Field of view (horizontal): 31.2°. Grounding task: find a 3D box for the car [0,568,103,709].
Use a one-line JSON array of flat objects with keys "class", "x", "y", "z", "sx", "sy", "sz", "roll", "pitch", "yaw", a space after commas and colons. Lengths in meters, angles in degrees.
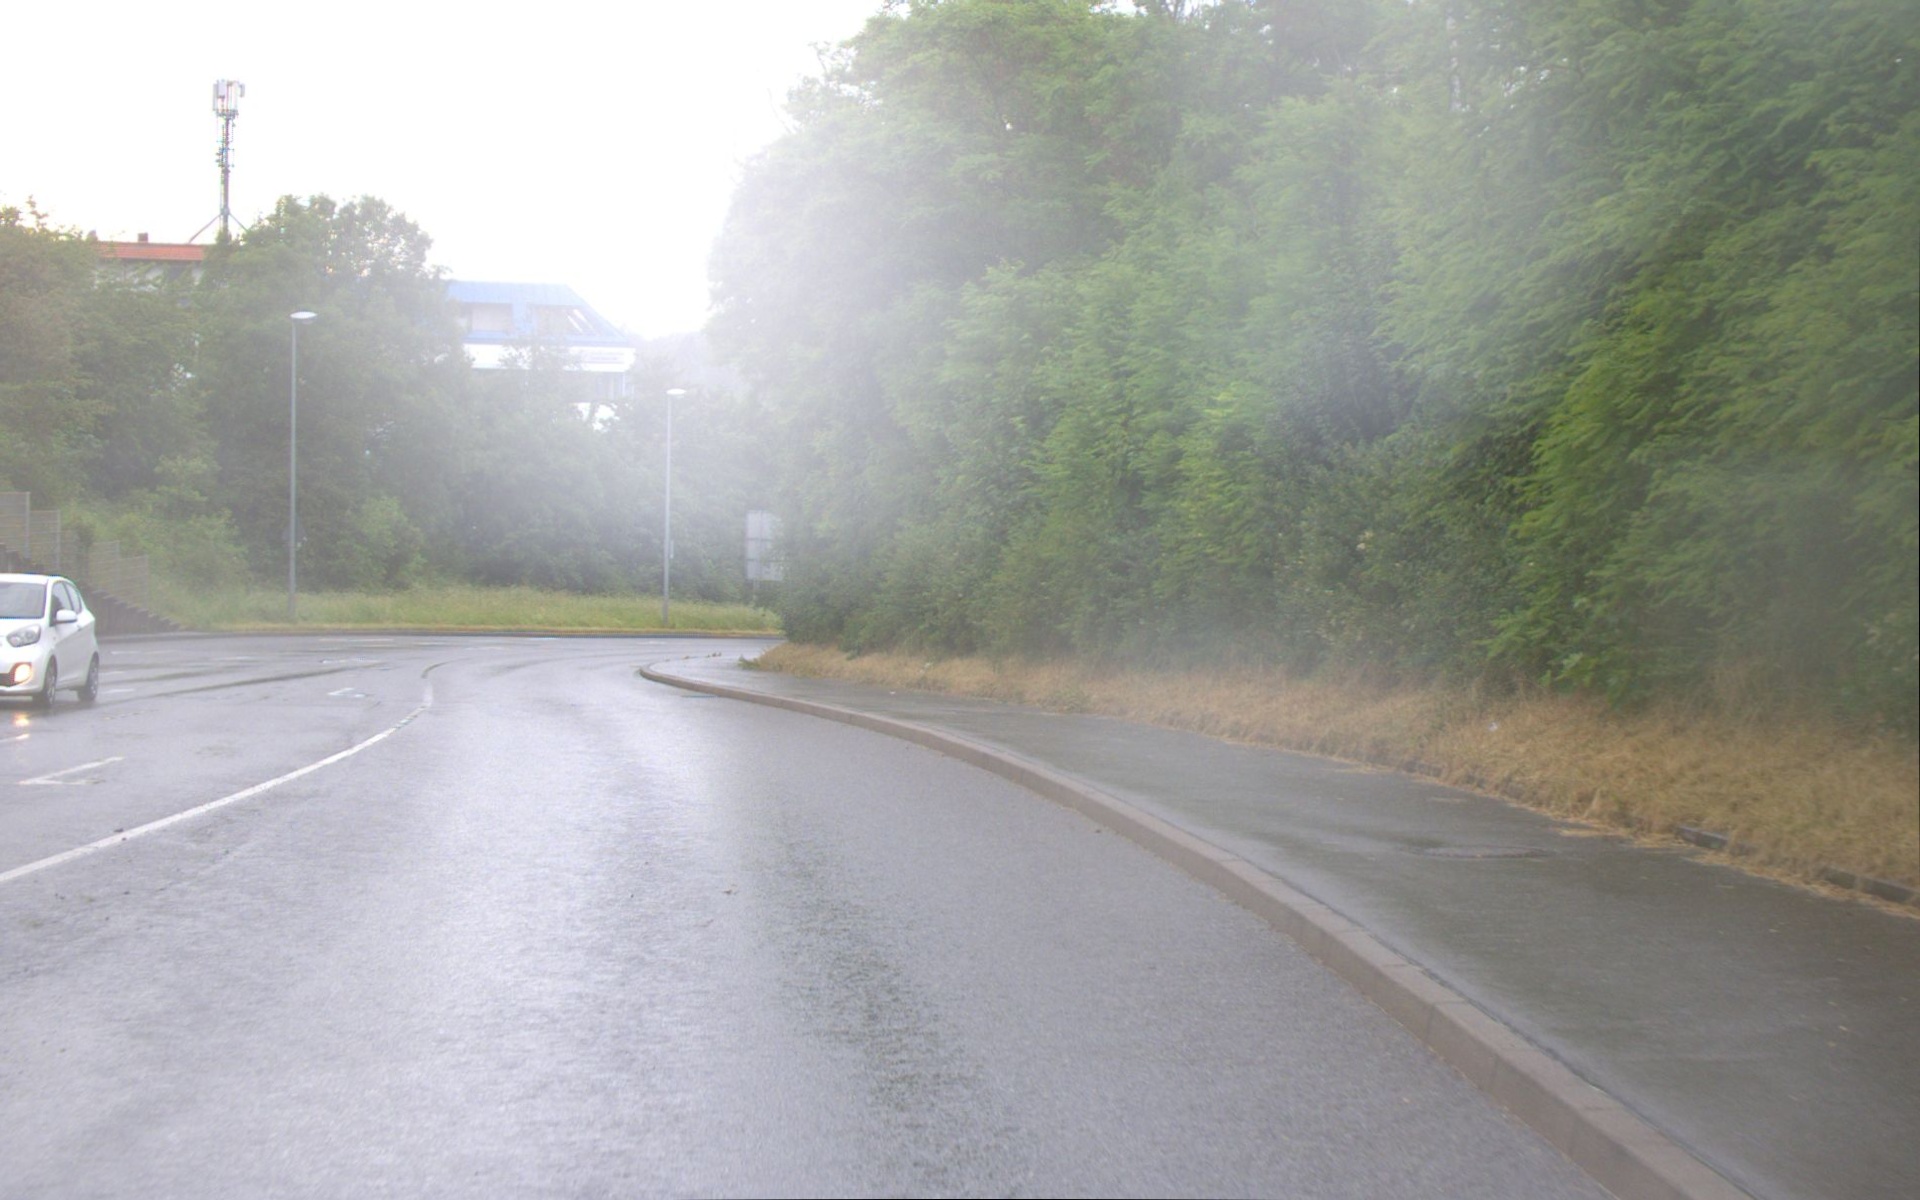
[{"class": "car", "x": -10.827, "y": 0.390, "z": 38.684, "sx": 1.652, "sy": 1.424, "sz": 3.794, "roll": 1, "pitch": 2, "yaw": -4}]
